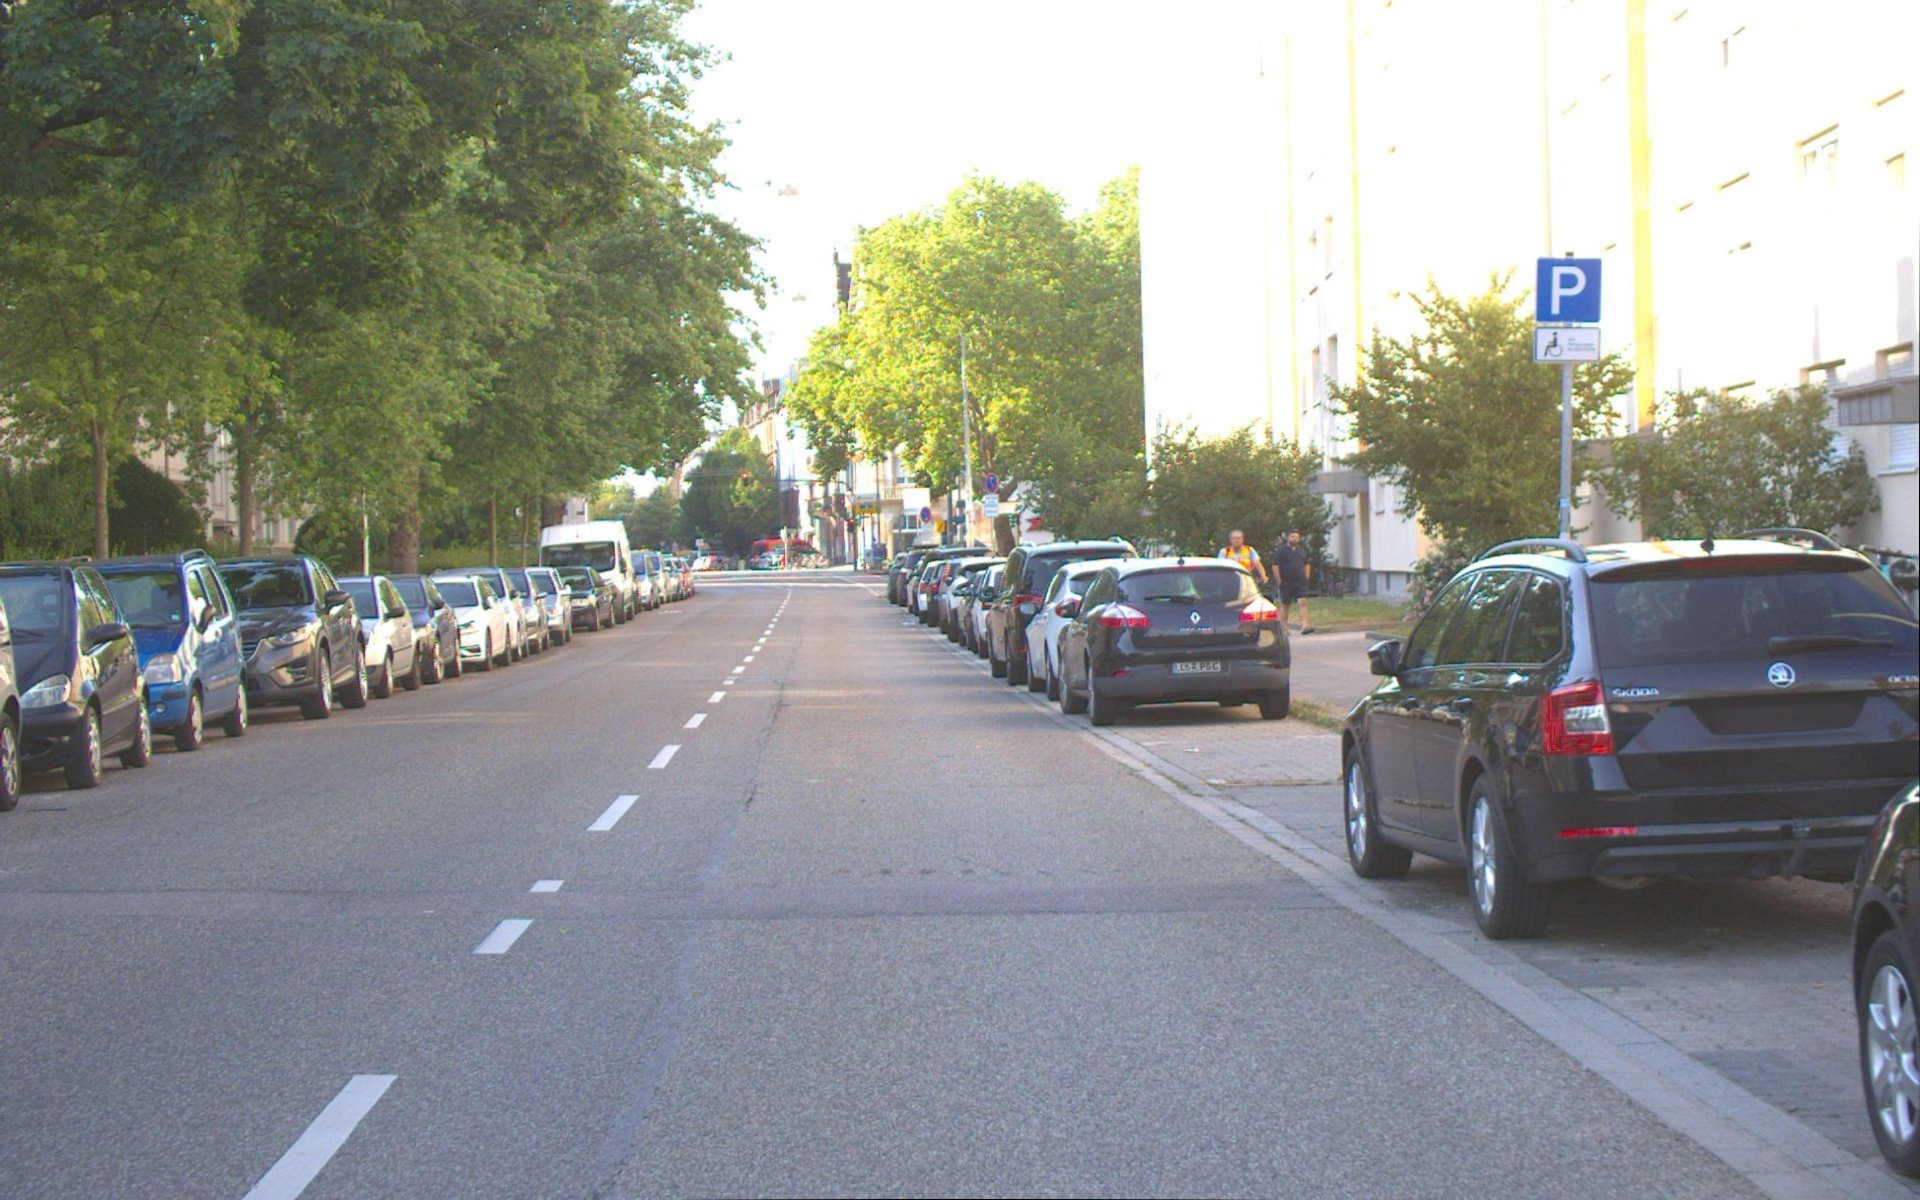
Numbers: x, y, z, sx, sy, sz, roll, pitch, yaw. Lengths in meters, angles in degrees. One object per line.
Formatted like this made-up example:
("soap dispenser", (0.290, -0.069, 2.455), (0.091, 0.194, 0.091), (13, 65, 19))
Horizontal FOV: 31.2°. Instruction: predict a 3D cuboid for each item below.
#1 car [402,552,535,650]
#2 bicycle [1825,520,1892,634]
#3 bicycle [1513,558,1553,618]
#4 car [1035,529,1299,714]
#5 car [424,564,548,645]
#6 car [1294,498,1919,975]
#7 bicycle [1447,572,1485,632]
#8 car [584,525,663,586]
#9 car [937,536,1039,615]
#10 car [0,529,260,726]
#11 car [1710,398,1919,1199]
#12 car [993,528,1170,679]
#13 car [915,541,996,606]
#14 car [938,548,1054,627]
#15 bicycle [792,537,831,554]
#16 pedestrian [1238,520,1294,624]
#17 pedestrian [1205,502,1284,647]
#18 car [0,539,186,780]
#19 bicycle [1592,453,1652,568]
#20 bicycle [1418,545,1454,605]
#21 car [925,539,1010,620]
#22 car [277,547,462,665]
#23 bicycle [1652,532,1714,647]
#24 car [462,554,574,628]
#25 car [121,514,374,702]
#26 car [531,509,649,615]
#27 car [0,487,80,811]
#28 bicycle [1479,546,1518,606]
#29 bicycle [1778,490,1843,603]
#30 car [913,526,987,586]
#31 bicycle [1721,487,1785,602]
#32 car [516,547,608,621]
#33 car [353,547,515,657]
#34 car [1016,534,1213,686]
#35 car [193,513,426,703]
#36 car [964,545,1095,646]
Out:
("car", (-8.132, 0.009, 57.132), (1.873, 1.547, 4.000), (1, 0, -4))
("bicycle", (9.537, -0.242, 36.497), (0.333, 1.188, 1.240), (1, 0, -2))
("bicycle", (9.201, -0.196, 55.240), (0.438, 0.938, 1.791), (1, 0, 3))
("car", (1.844, 0.185, 32.082), (1.798, 1.502, 4.622), (-3, 0, -4))
("car", (-8.300, 0.072, 60.424), (1.873, 1.351, 4.000), (1, 0, -4))
("car", (2.754, 0.437, 14.143), (1.886, 1.556, 4.947), (-3, 0, -4))
("bicycle", (8.132, 0.027, 55.250), (0.438, 0.938, 1.791), (1, 0, 3))
("car", (-9.724, -1.307, 99.605), (1.871, 1.553, 5.057), (-5, 2, -2))
("car", (0.565, -0.515, 72.621), (1.962, 1.600, 4.279), (-1, 0, -2))
("car", (-7.213, 0.211, 29.380), (1.873, 1.547, 4.000), (1, 0, -4))
("car", (3.026, 0.414, 7.117), (1.901, 1.773, 4.582), (-3, 0, 0))
("car", (1.463, 0.032, 43.130), (1.771, 1.672, 4.647), (-4, 0, -2))
("car", (-0.132, -0.614, 81.661), (1.837, 1.496, 4.172), (1, 0, -1))
("car", (0.652, -0.239, 65.246), (1.873, 1.438, 4.000), (1, 0, -4))
("bicycle", (-10.727, -3.950, 248.436), (2.802, 1.199, 0.510), (1, 0, -8))
("pedestrian", (5.021, -0.455, 56.390), (0.765, 1.652, 0.536), (-3, 0, -2))
("pedestrian", (3.770, -0.331, 45.641), (0.888, 1.884, 1.279), (1, 0, -2))
("car", (-6.813, 0.416, 24.487), (1.873, 1.547, 4.000), (-3, 0, -4))
("bicycle", (6.971, -0.933, 36.227), (0.333, 1.188, 1.240), (1, 0, -2))
("bicycle", (7.648, -0.399, 55.280), (0.438, 0.938, 1.791), (1, 0, 3))
("car", (0.168, -0.451, 77.299), (1.837, 1.766, 3.978), (-1, 0, 0))
("car", (-7.613, 0.071, 44.672), (1.873, 1.429, 4.804), (1, 0, -4))
("bicycle", (7.603, -0.114, 36.182), (0.333, 1.188, 1.240), (1, 0, -2))
("car", (-8.508, -0.175, 66.475), (1.873, 1.351, 4.654), (1, 0, -4))
("car", (-7.133, 0.067, 34.840), (1.873, 1.753, 4.690), (1, 0, -4))
("car", (-8.910, -0.888, 83.305), (2.358, 2.437, 6.165), (1, 0, -2))
("car", (-6.519, 0.319, 19.626), (1.841, 1.890, 4.487), (-2, 0, -1))
("bicycle", (8.650, -0.386, 55.233), (0.438, 0.938, 1.791), (1, 0, 3))
("bicycle", (9.085, -0.565, 36.756), (0.333, 1.188, 1.240), (1, 0, -2))
("car", (-0.321, -1.324, 102.613), (1.897, 1.645, 4.343), (3, 1, -3))
("bicycle", (8.367, -0.577, 36.287), (0.333, 1.188, 1.240), (1, 0, -2))
("car", (-8.810, -0.348, 76.320), (1.707, 1.568, 3.819), (1, 0, -2))
("car", (-7.793, 0.025, 51.275), (2.004, 1.547, 4.472), (1, 0, -4))
("car", (1.636, 0.099, 37.591), (1.771, 1.503, 4.000), (-2, 0, -2))
("car", (-7.549, 0.082, 40.254), (1.993, 2.007, 4.000), (-3, 0, -2))
("car", (1.073, -0.071, 54.700), (1.771, 1.449, 4.000), (-3, 0, -2))
